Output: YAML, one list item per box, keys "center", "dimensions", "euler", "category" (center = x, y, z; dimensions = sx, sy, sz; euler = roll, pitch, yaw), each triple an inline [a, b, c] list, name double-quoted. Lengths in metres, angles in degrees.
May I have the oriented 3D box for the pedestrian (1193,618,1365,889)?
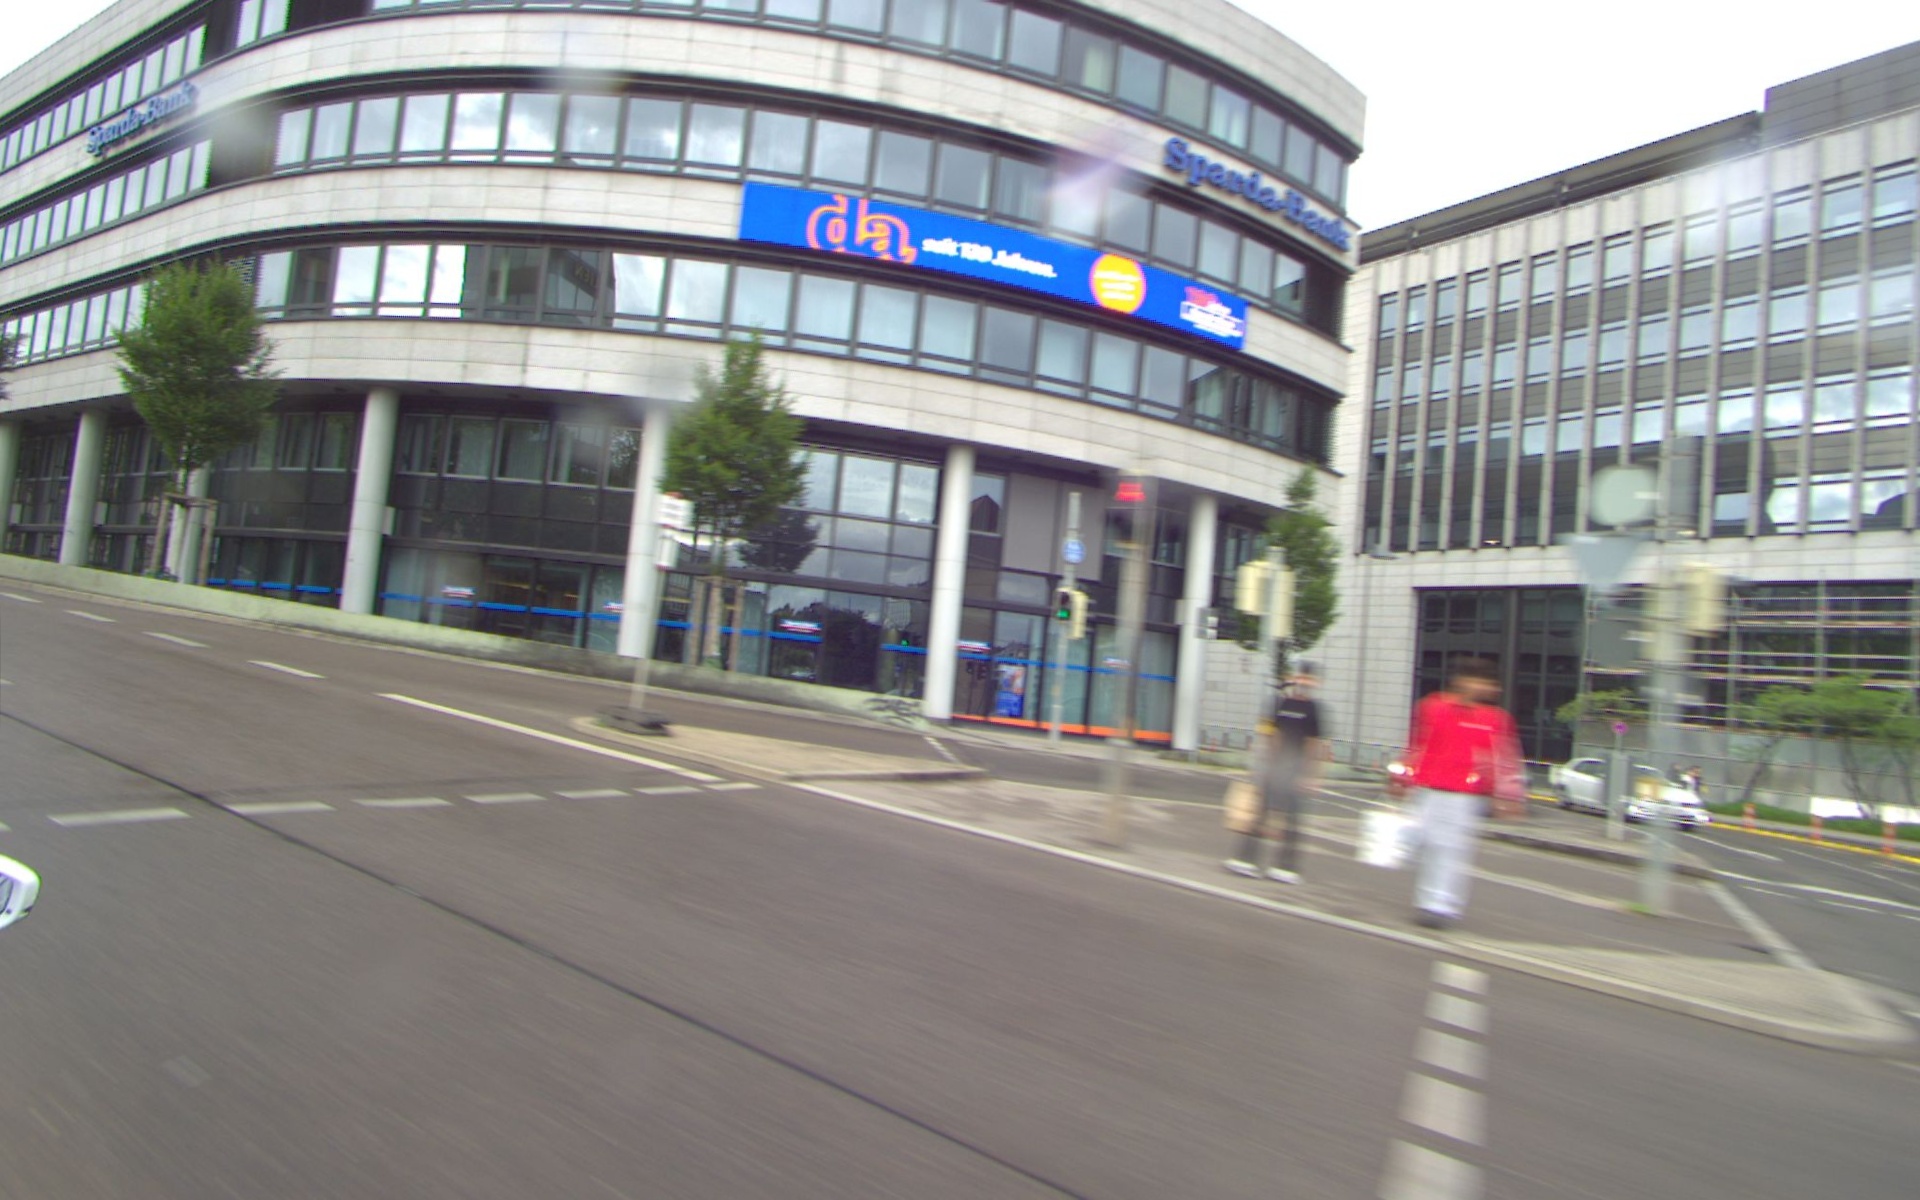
- center: [2.448, 1.154, 7.740]
  dimensions: [0.835, 1.926, 0.726]
  euler: [8, -2, -32]
  category: "pedestrian"

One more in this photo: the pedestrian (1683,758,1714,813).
- center: [25.615, 6.432, 34.902]
  dimensions: [0.556, 1.765, 0.548]
  euler: [9, -2, -32]
  category: "pedestrian"

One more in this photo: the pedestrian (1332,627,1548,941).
- center: [3.271, 1.214, 6.880]
  dimensions: [0.835, 1.926, 0.854]
  euler: [8, -2, -32]
  category: "pedestrian"

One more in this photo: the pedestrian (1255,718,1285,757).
- center: [15.578, 6.919, 50.591]
  dimensions: [1.064, 1.741, 0.656]
  euler: [8, -1, -7]
  category: "pedestrian"

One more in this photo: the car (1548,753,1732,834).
- center: [16.796, 4.742, 25.106]
  dimensions: [1.832, 1.456, 4.010]
  euler: [5, -5, 0]
  category: "car"

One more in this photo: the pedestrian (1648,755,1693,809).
- center: [25.935, 6.644, 36.708]
  dimensions: [0.935, 1.765, 0.897]
  euler: [9, -2, -32]
  category: "pedestrian"

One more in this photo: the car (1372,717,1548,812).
- center: [9.997, 3.262, 19.913]
  dimensions: [1.843, 1.457, 4.695]
  euler: [3, -6, 43]
  category: "car"

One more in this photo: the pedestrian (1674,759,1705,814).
- center: [25.082, 6.393, 34.579]
  dimensions: [0.556, 1.765, 0.548]
  euler: [9, -2, -32]
  category: "pedestrian"
